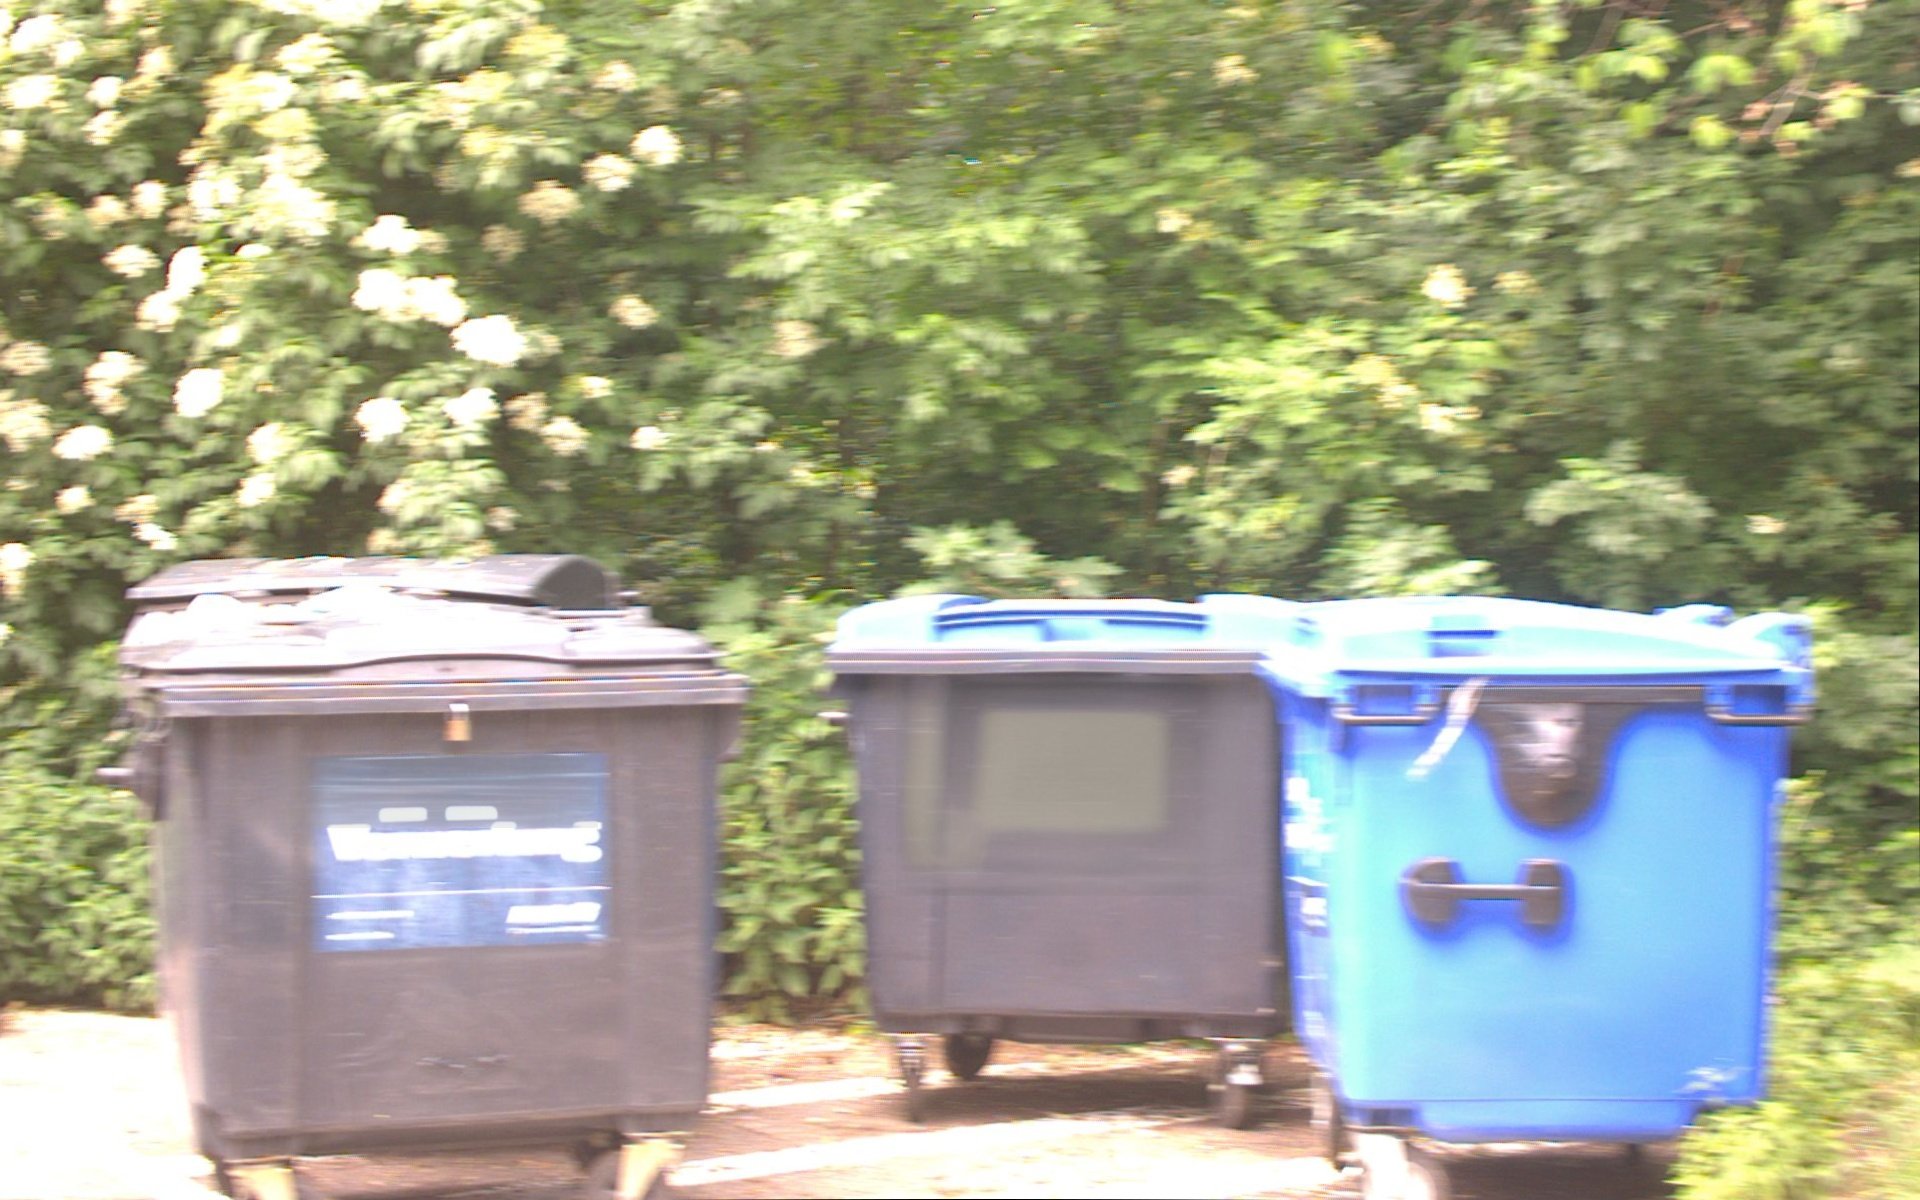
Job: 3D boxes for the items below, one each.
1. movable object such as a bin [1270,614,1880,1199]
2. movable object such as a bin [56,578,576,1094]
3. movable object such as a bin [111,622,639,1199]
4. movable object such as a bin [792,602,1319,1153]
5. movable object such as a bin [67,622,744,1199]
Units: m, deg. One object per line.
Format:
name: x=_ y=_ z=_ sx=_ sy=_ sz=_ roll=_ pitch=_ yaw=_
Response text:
movable object such as a bin: x=1.307 y=0.700 z=7.619 sx=1.142 sy=1.320 sz=1.257 roll=0 pitch=0 yaw=1
movable object such as a bin: x=-1.881 y=0.648 z=10.199 sx=1.128 sy=1.420 sz=1.126 roll=0 pitch=0 yaw=17
movable object such as a bin: x=-1.492 y=0.720 z=8.596 sx=1.180 sy=1.310 sz=1.127 roll=0 pitch=0 yaw=-16
movable object such as a bin: x=0.283 y=0.668 z=8.931 sx=1.236 sy=1.315 sz=1.126 roll=0 pitch=0 yaw=9
movable object such as a bin: x=-1.234 y=0.709 z=7.422 sx=1.308 sy=1.303 sz=1.173 roll=0 pitch=0 yaw=-16
